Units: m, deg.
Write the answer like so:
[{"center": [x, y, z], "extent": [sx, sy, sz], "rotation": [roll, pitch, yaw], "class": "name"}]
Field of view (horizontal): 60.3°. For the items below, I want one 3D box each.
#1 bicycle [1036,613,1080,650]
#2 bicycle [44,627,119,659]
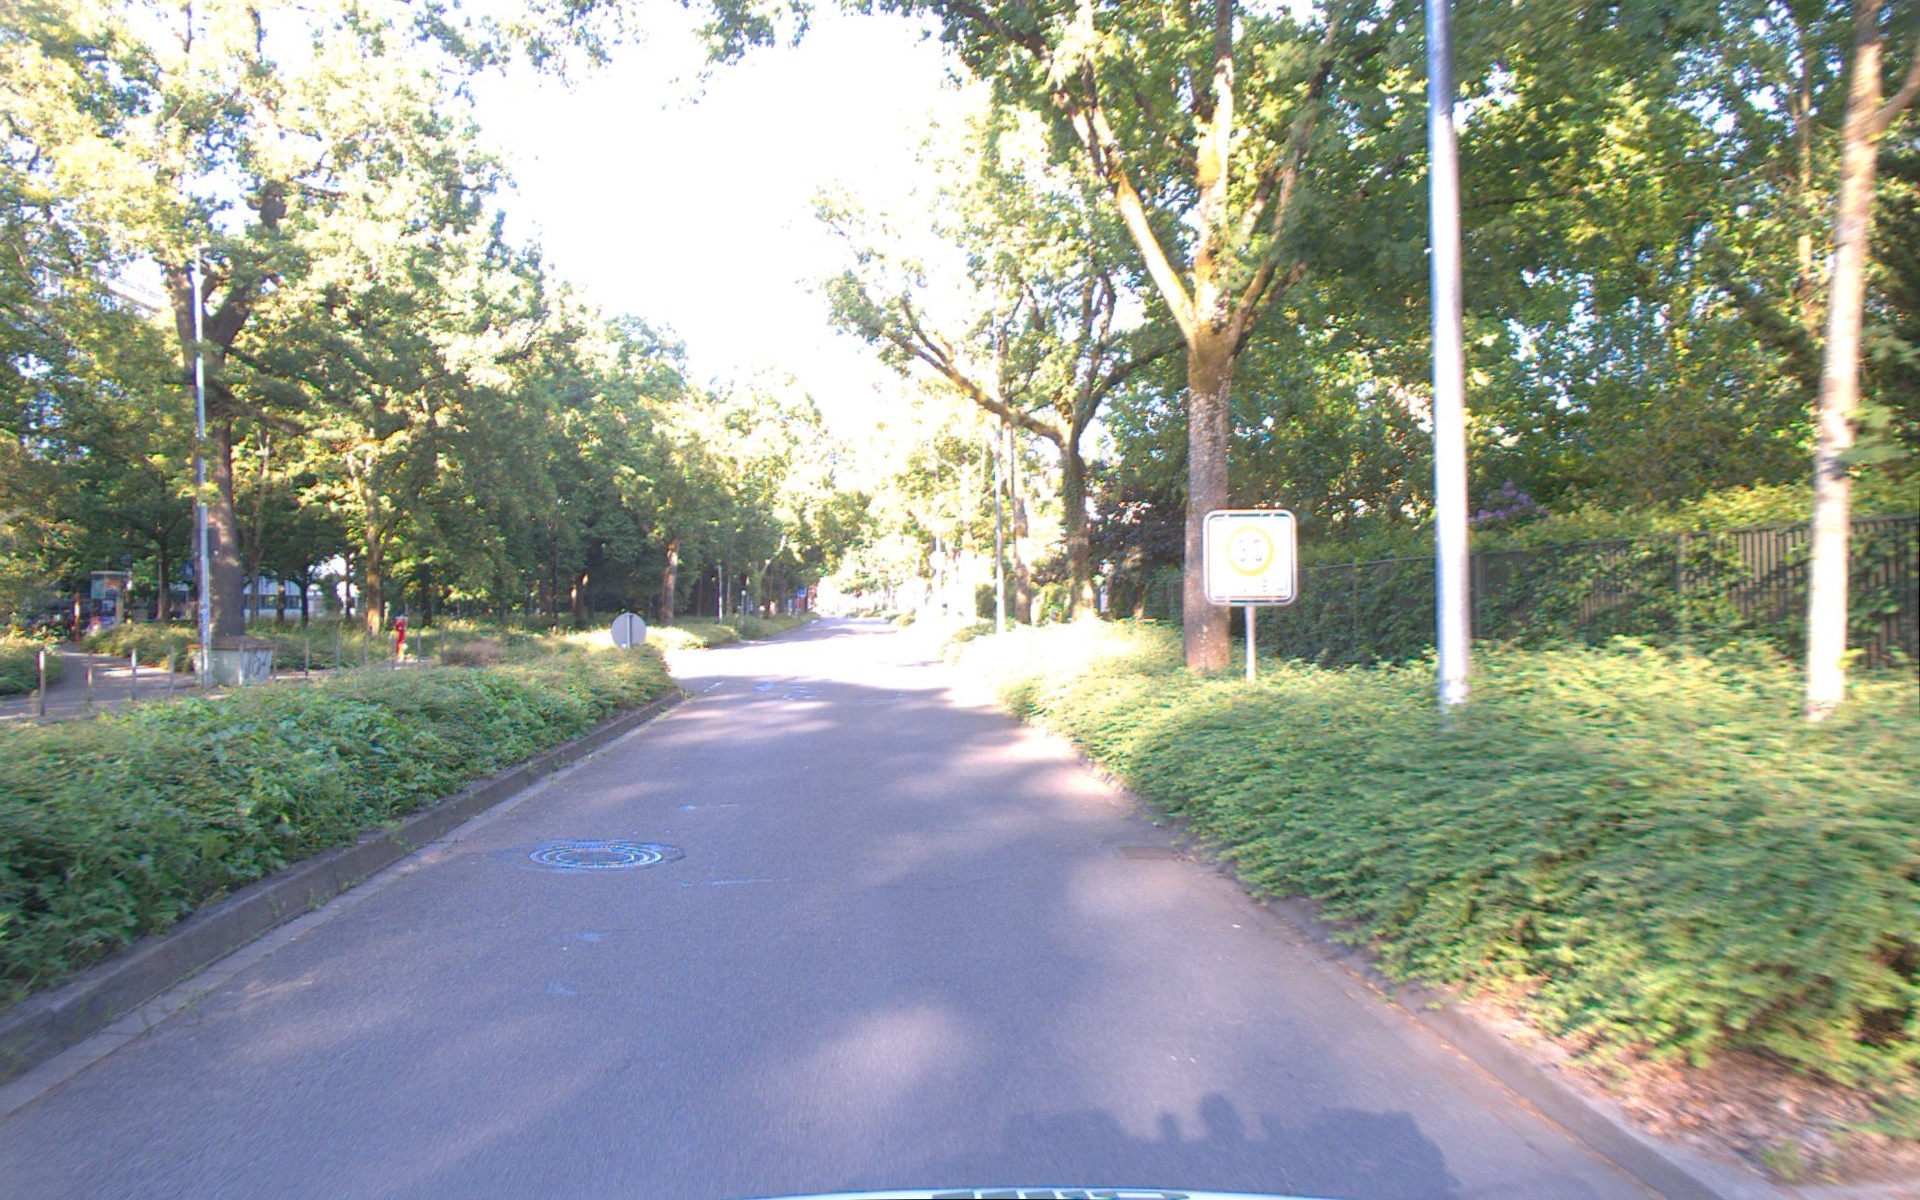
[{"center": [3.569, 1.119, 59.940], "extent": [0.865, 1.221, 2.326], "rotation": [-3, 0, 21], "class": "bicycle"}, {"center": [-31.686, 1.537, 59.687], "extent": [0.526, 1.090, 2.421], "rotation": [2, 1, 35], "class": "bicycle"}]
